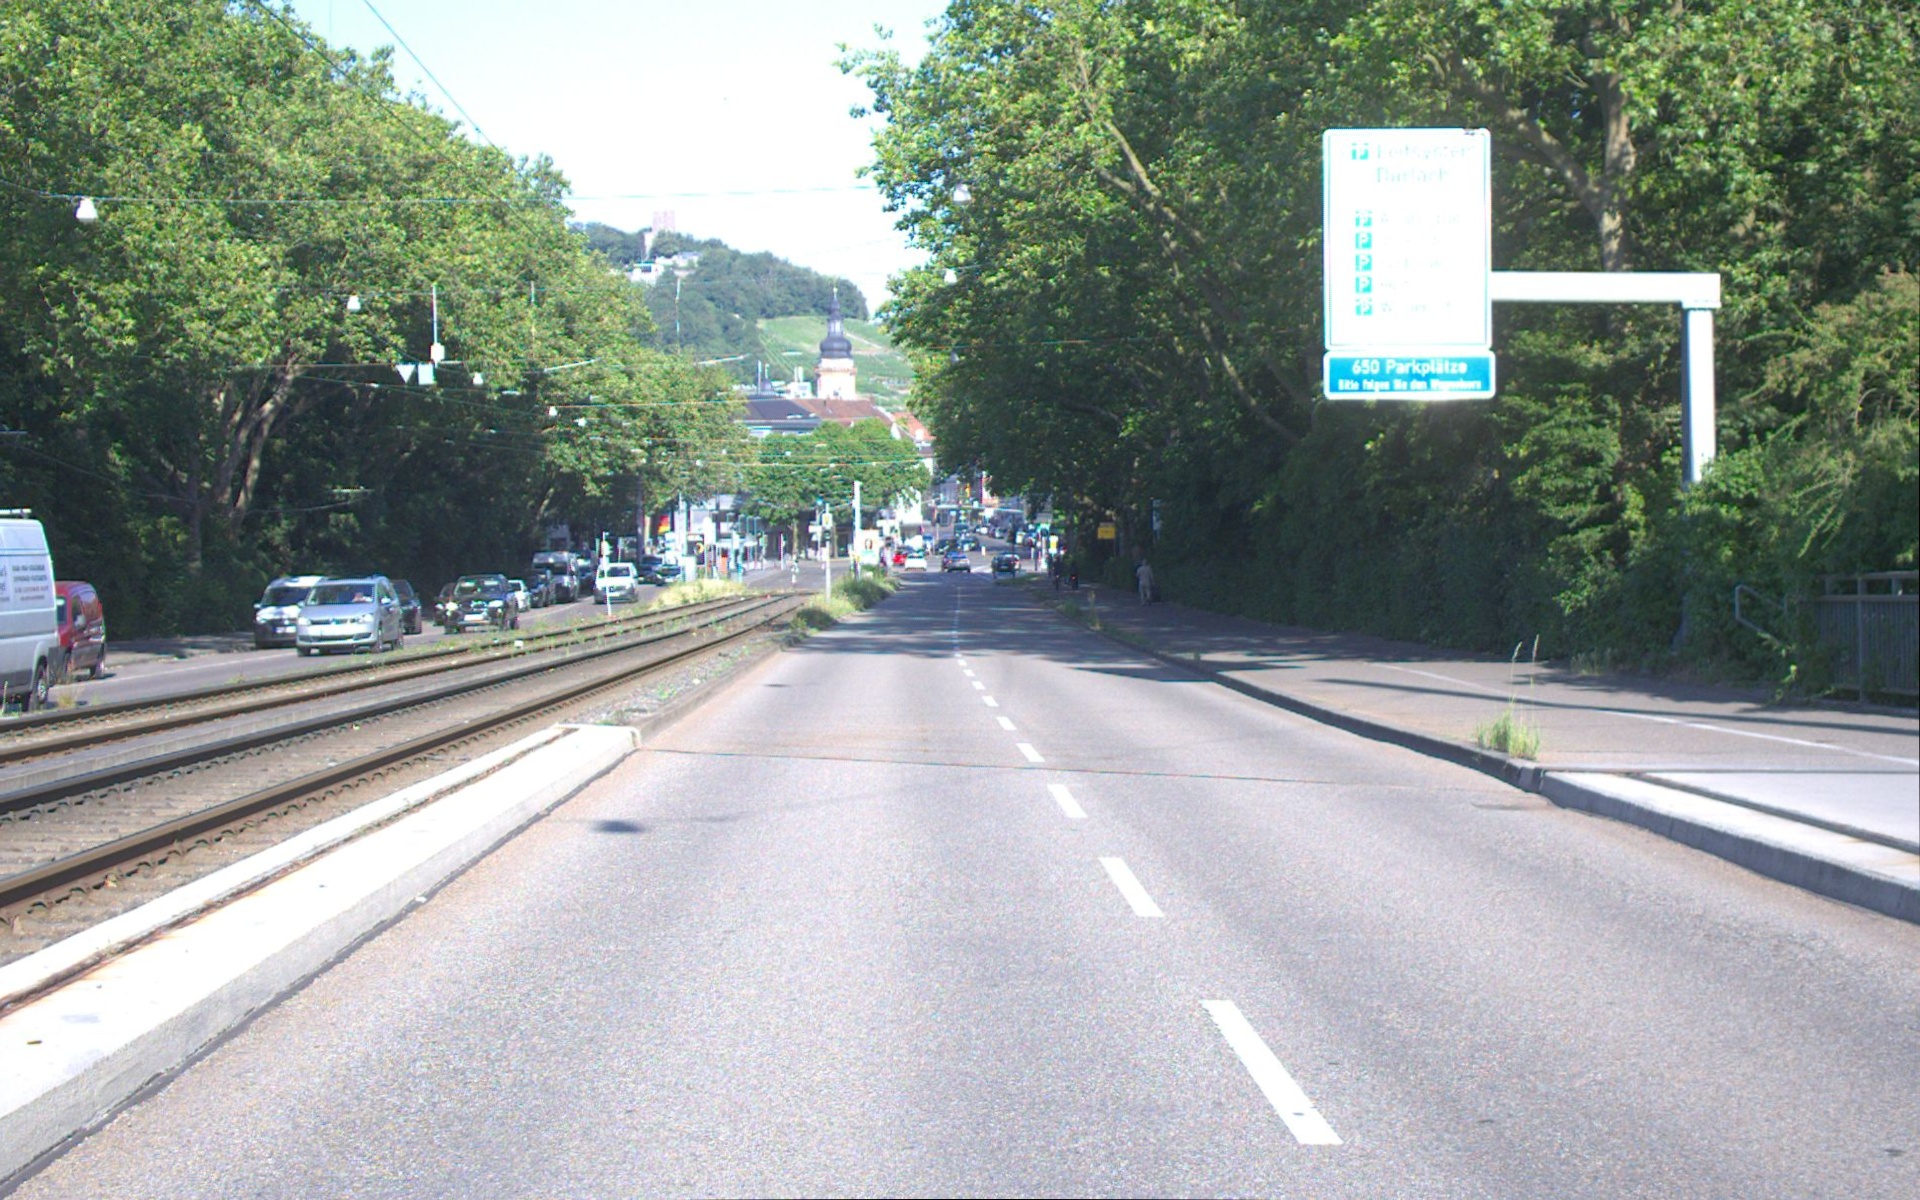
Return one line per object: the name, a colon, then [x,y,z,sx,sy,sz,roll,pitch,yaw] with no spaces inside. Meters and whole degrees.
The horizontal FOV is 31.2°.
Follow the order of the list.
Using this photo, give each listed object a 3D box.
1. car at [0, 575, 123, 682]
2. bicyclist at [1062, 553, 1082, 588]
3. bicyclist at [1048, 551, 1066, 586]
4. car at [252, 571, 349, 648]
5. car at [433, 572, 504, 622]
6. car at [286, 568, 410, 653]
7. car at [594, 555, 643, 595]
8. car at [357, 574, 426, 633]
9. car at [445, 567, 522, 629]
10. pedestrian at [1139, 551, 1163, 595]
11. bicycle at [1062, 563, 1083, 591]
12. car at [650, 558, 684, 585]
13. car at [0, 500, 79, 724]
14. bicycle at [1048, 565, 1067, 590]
car: [-16.112,0.470,60.415,1.741,1.748,4.685,-1,1,-1]
bicyclist: [5.400,-1.420,165.521,0.887,1.633,1.164,-1,0,0]
bicyclist: [5.054,-1.639,179.121,0.887,1.768,1.222,-1,0,0]
car: [-16.946,0.221,88.527,1.741,1.737,4.515,-4,1,-3]
car: [-17.617,-0.120,123.437,1.993,1.691,4.745,-1,1,-2]
car: [-13.421,0.205,75.626,1.873,1.659,4.597,3,1,-1]
car: [-16.129,-1.189,162.685,1.993,1.838,5.302,0,1,-2]
car: [-17.129,0.087,103.723,1.741,1.631,4.001,-2,1,-6]
car: [-13.789,-0.067,99.743,1.741,1.618,4.395,-3,1,-3]
pedestrian: [6.734,-0.953,121.139,0.804,1.540,0.814,-1,0,3]
bicycle: [5.411,-1.093,165.433,0.887,1.316,2.640,-1,1,0]
car: [-19.437,-1.892,228.561,1.993,1.691,4.745,-1,1,-2]
car: [-12.160,0.173,40.212,2.086,2.584,6.041,-3,1,0]
bicycle: [5.053,-1.180,179.139,0.887,1.316,2.640,-1,1,0]
